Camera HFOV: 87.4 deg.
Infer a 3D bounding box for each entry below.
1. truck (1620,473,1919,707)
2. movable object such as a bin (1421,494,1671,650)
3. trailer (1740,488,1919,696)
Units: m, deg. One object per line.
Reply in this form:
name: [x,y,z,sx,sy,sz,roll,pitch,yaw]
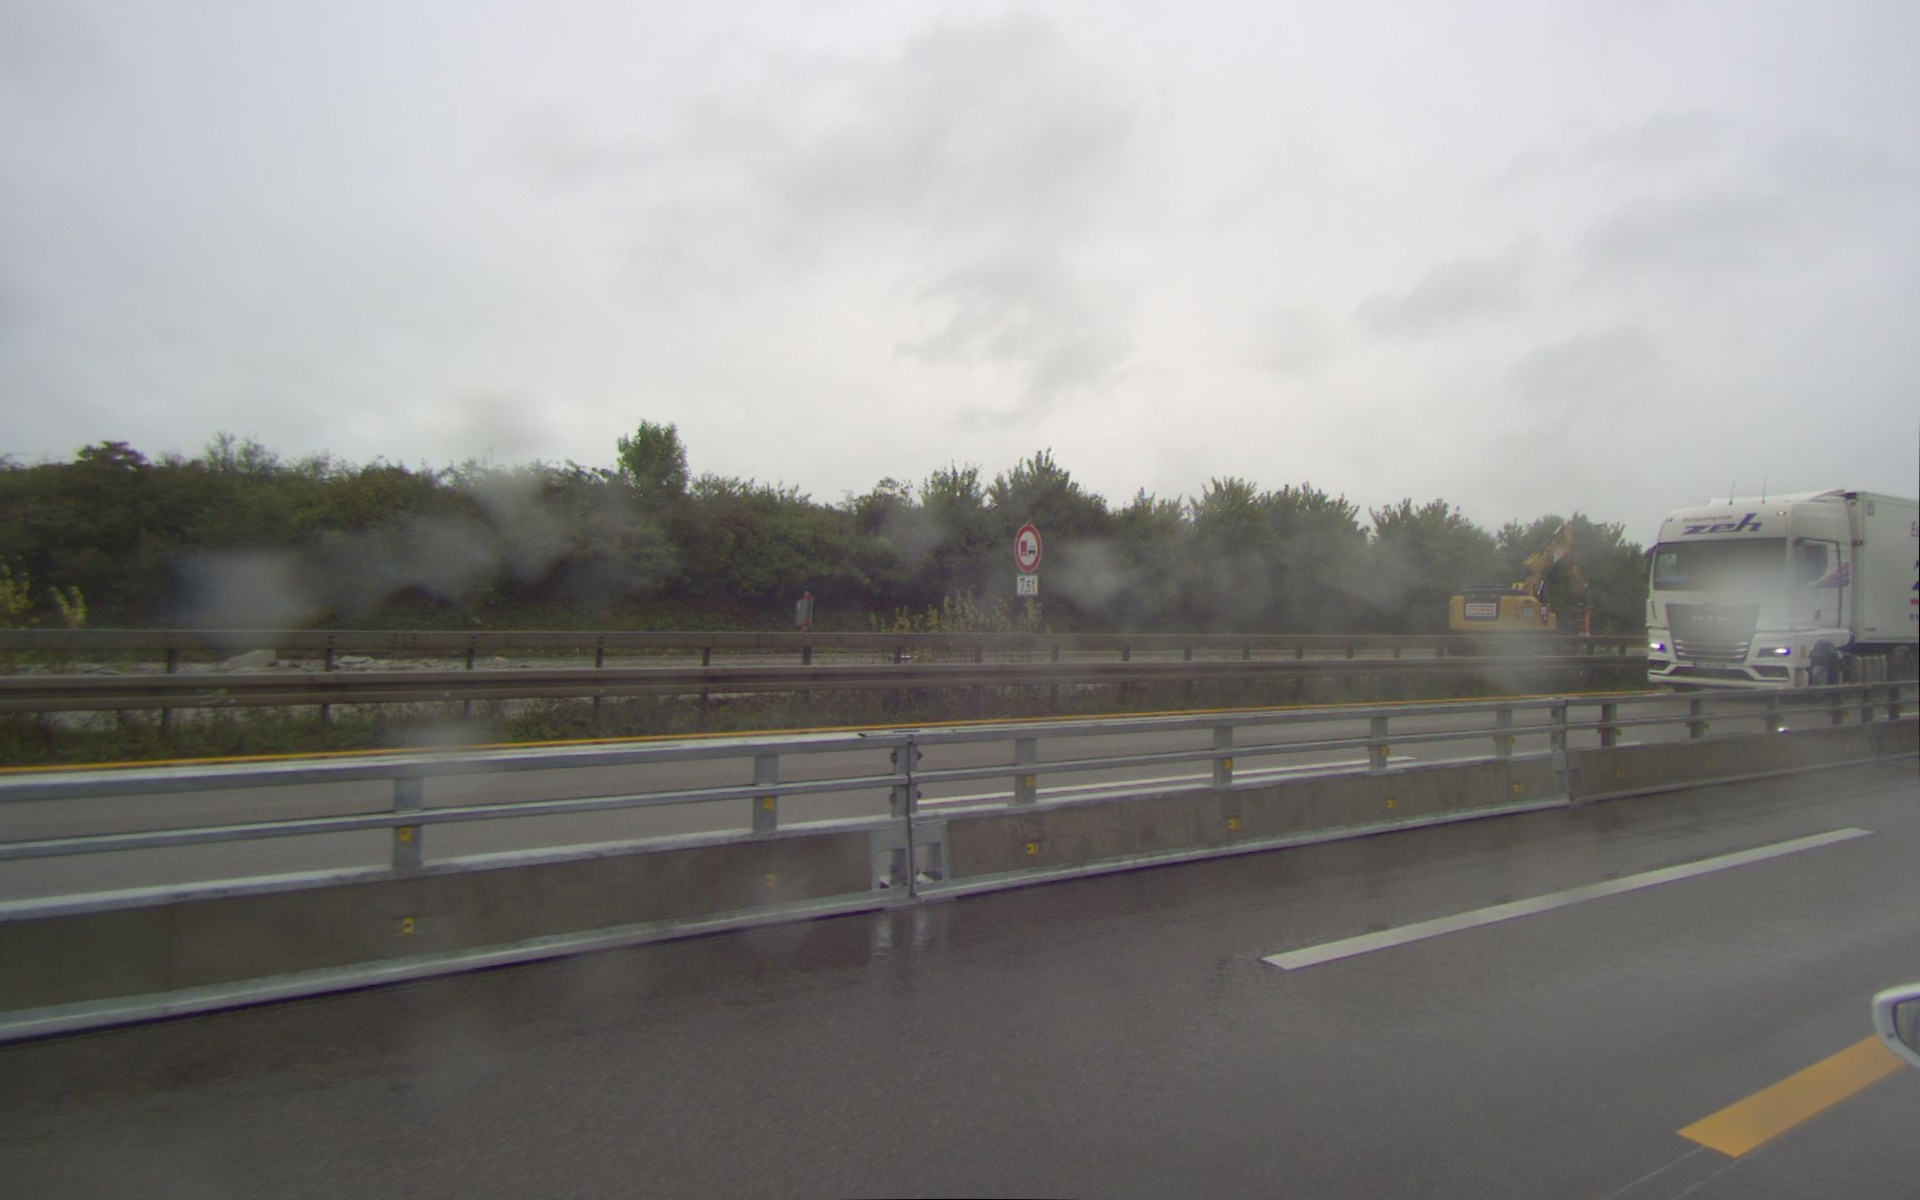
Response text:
truck: [16.338,-0.147,20.167,6.369,4.085,2.473,1,0,-29]
movable object such as a bin: [25.455,-1.007,43.478,10.908,5.994,4.154,2,0,-28]
trailer: [23.077,-0.094,23.982,12.435,4.103,2.483,1,-1,-30]
